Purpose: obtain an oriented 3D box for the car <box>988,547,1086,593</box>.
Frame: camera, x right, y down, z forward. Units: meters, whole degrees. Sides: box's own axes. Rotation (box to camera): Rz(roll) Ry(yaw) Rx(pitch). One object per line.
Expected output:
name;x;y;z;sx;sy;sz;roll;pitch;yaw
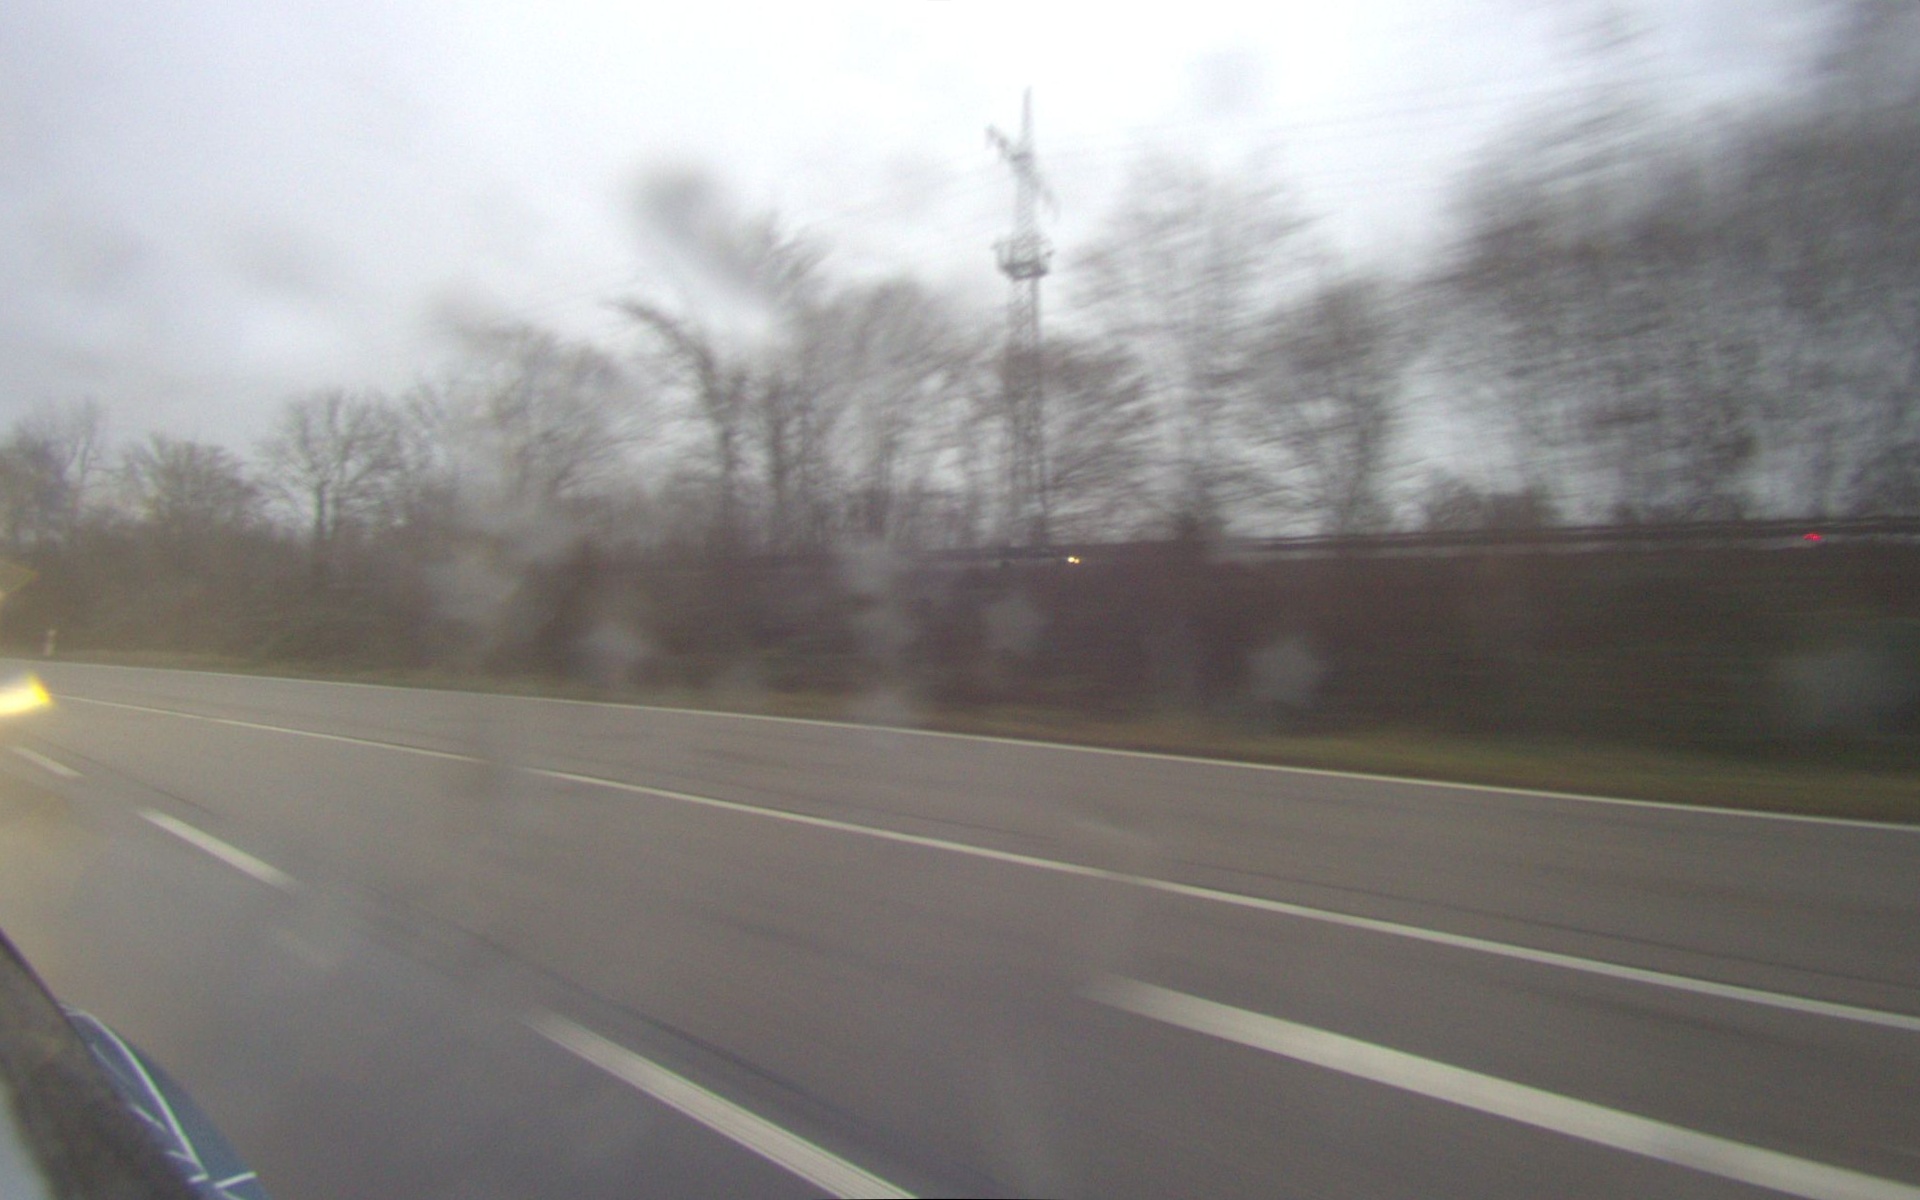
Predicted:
car;3.675;-1.406;48.024;4.205;2.029;1.984;-1;1;25
